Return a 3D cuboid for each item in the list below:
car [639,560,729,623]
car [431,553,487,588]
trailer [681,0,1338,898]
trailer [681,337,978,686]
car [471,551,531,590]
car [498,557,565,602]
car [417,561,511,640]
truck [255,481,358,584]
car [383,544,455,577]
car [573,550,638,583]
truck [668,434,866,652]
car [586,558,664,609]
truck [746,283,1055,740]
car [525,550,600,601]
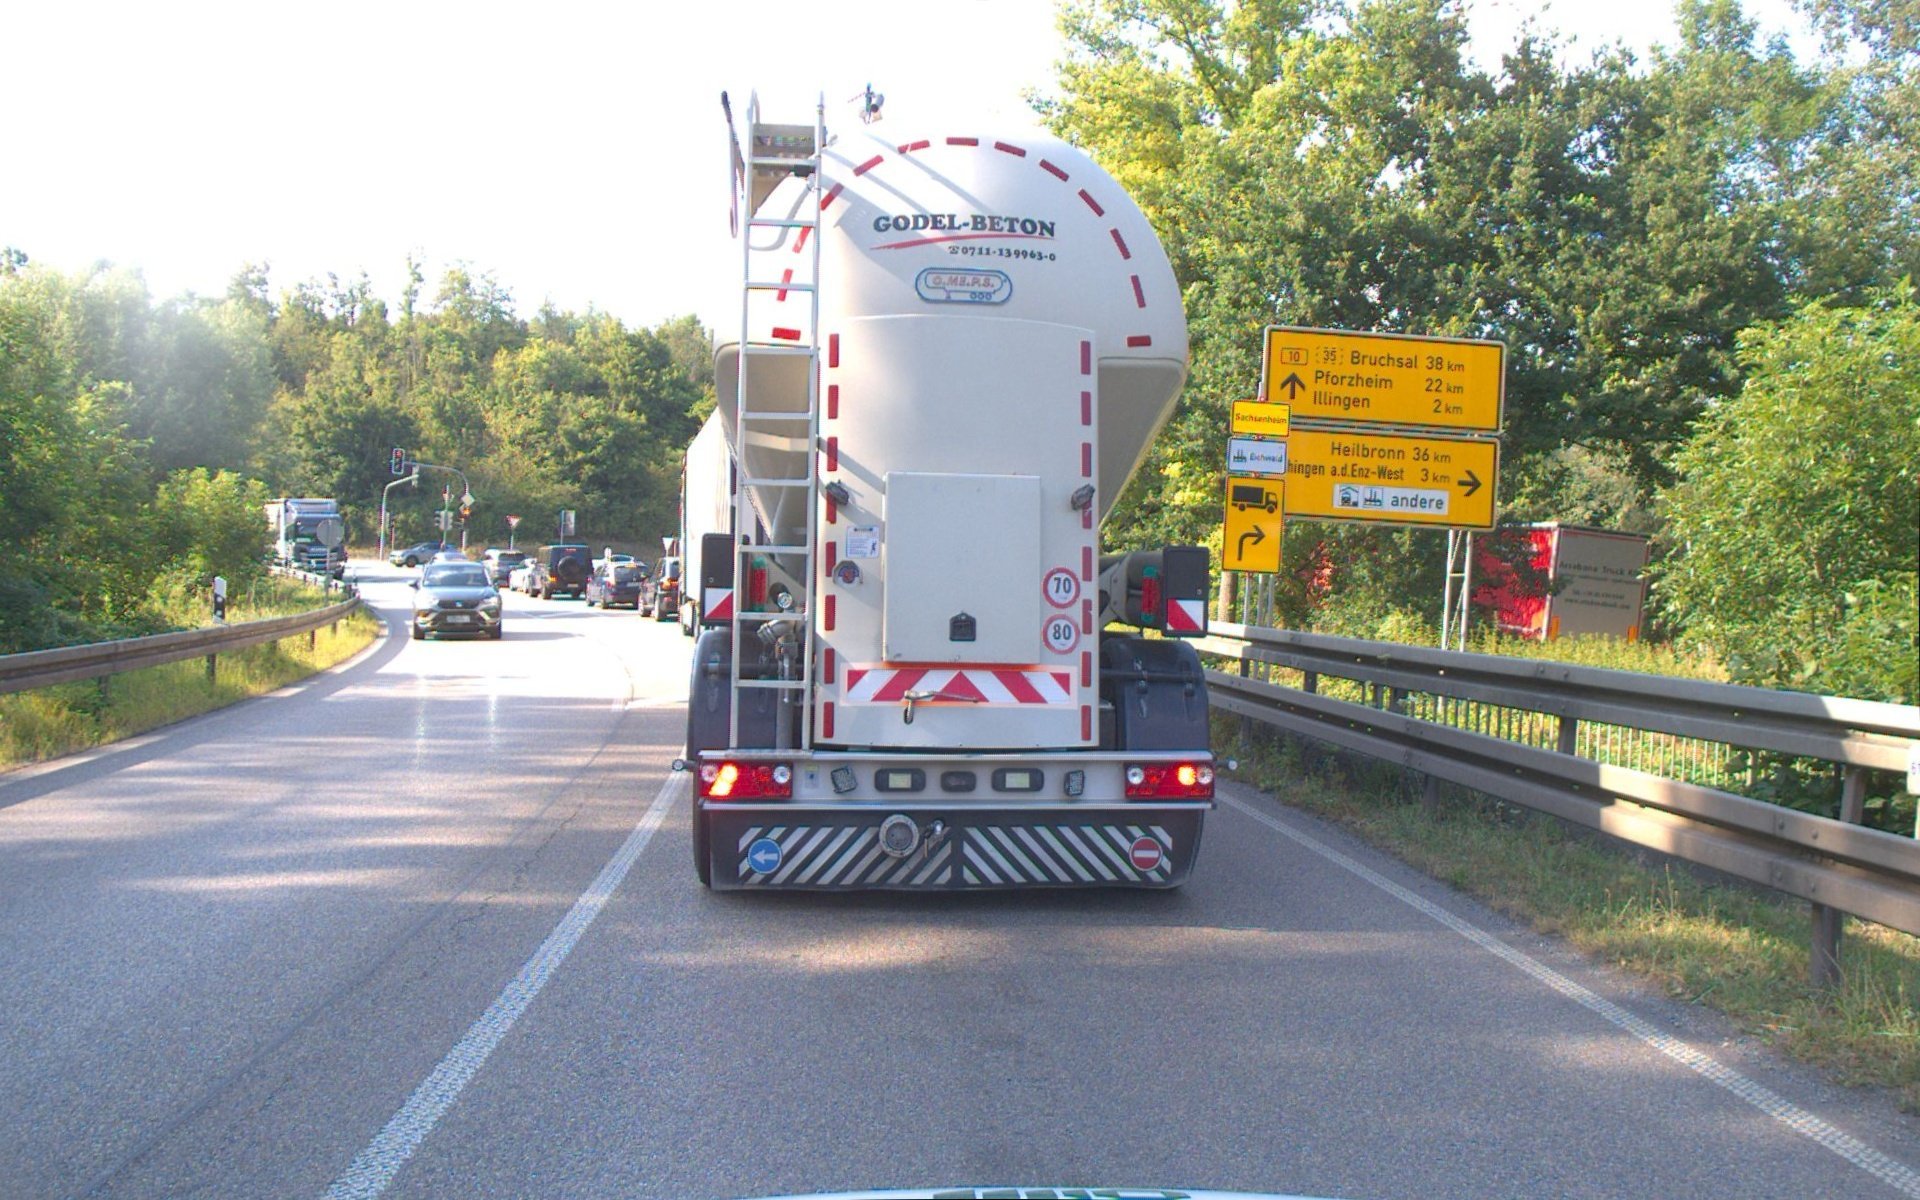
[{"bbox_3d":[-7.650,-0.282,45.566,1.839,1.656,3.979,0,1,-19],"label":"car"},{"bbox_3d":[-25.165,-1.510,83.021,1.847,1.592,3.961,3,0,-29],"label":"car"},{"bbox_3d":[-0.212,-1.005,12.015,2.831,4.532,9.594,1,0,-6],"label":"trailer"},{"bbox_3d":[-2.806,-1.236,28.867,3.483,4.591,12.947,2,0,-12],"label":"trailer"},{"bbox_3d":[-20.952,-1.359,75.433,1.846,1.622,3.965,3,0,-27],"label":"car"},{"bbox_3d":[-18.182,-0.893,70.036,1.846,1.712,3.965,3,0,-27],"label":"car"},{"bbox_3d":[-10.773,-0.037,35.893,1.838,1.592,3.981,0,1,-17],"label":"car"},{"bbox_3d":[-32.656,-3.325,82.372,2.981,4.664,10.135,3,0,-31],"label":"truck"},{"bbox_3d":[-34.881,-2.524,106.725,1.838,1.883,3.982,3,0,37],"label":"car"},{"bbox_3d":[-24.967,-2.352,116.532,3.963,2.048,1.971,3,0,-41],"label":"car"},{"bbox_3d":[-4.347,-1.130,35.805,3.392,4.157,6.468,2,0,-14],"label":"truck"},{"bbox_3d":[-10.979,-0.551,54.007,1.841,1.592,3.974,0,1,-22],"label":"car"},{"bbox_3d":[-0.902,-0.813,18.032,2.771,4.105,5.884,1,0,-7],"label":"truck"},{"bbox_3d":[-15.075,-0.962,62.566,1.933,1.883,3.966,-1,2,-27],"label":"car"}]
